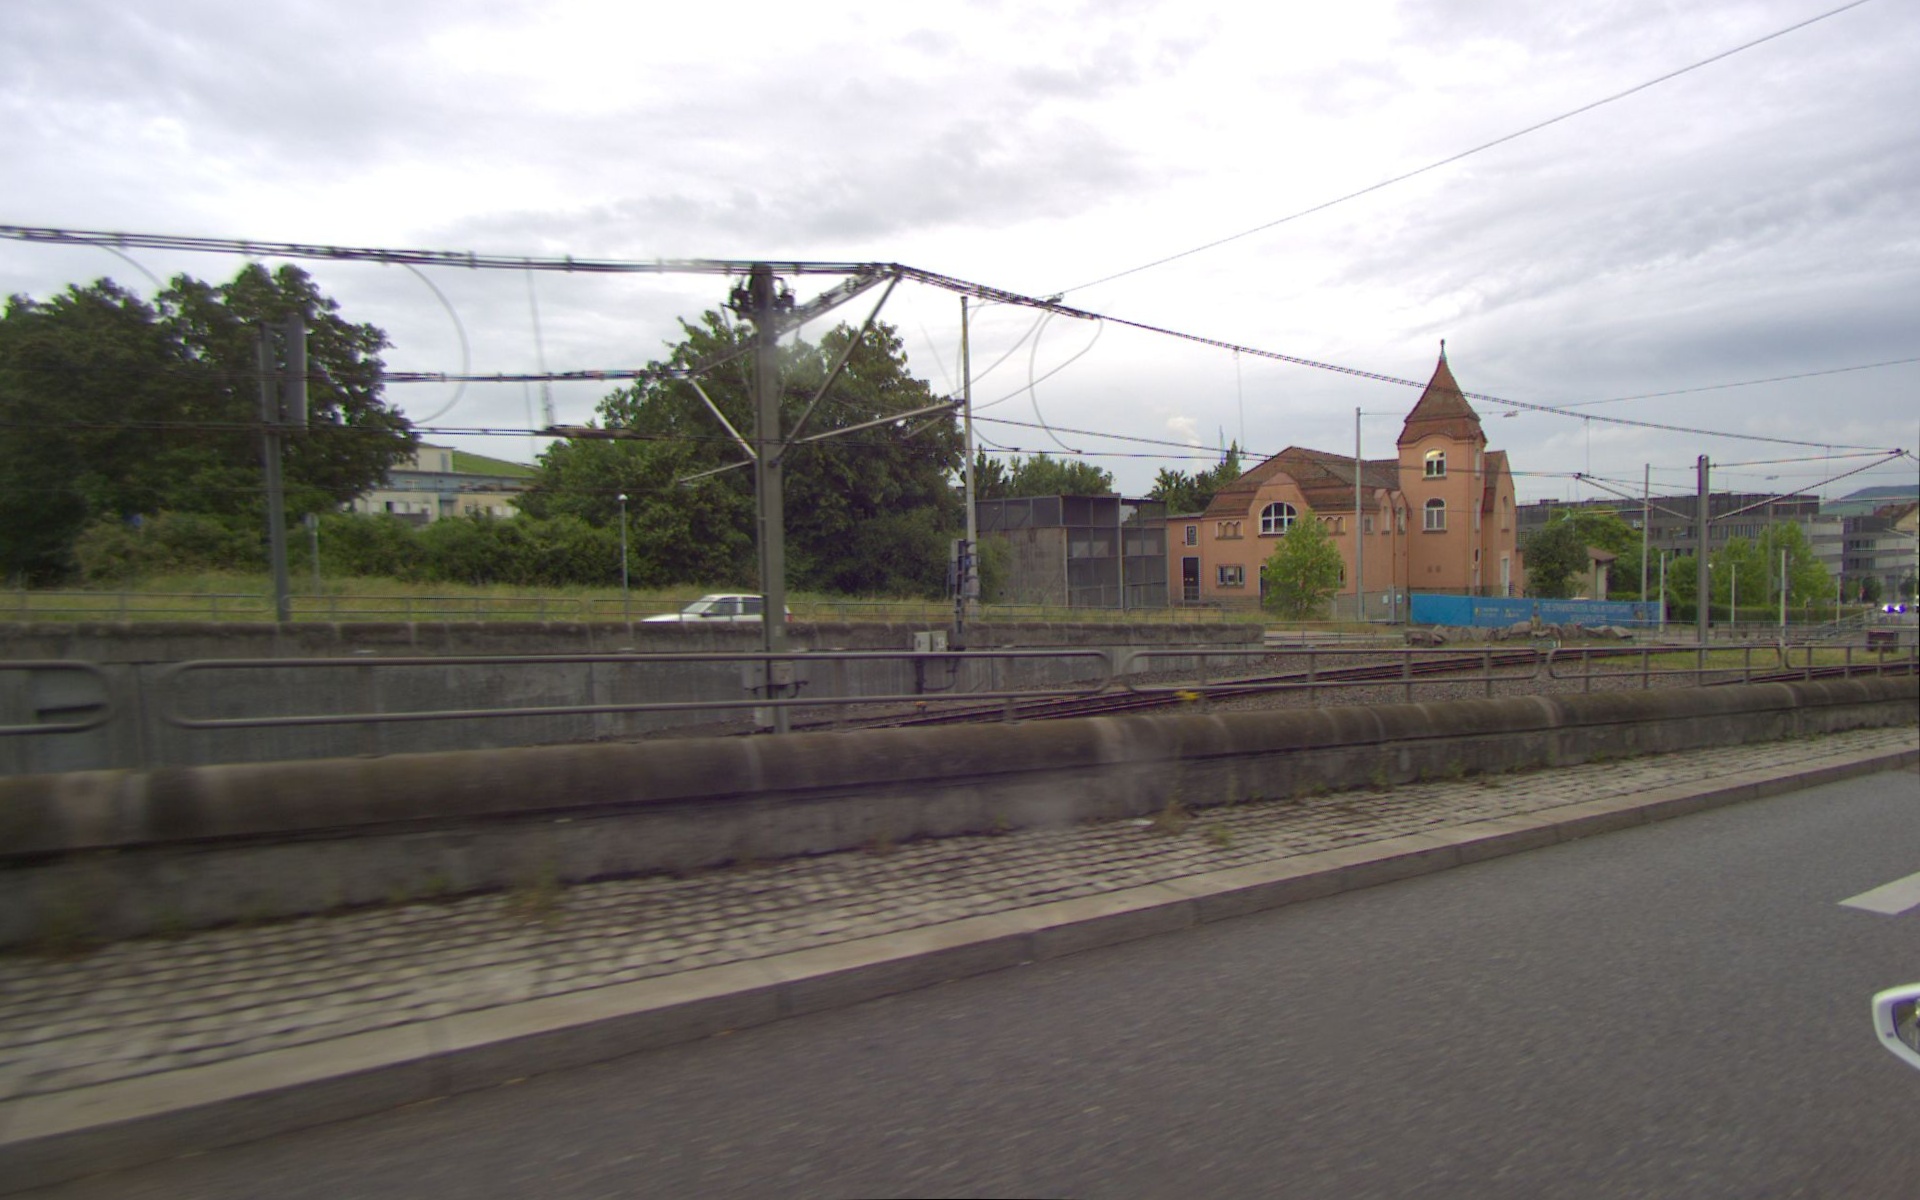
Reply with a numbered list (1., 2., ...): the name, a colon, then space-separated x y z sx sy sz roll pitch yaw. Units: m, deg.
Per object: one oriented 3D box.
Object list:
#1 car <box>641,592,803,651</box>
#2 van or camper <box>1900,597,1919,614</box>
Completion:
1. car: -5.730 0.490 24.300 3.519 1.309 1.547 0 2 -32
2. van or camper: 137.891 0.869 145.604 3.968 2.376 1.977 1 -1 -41
